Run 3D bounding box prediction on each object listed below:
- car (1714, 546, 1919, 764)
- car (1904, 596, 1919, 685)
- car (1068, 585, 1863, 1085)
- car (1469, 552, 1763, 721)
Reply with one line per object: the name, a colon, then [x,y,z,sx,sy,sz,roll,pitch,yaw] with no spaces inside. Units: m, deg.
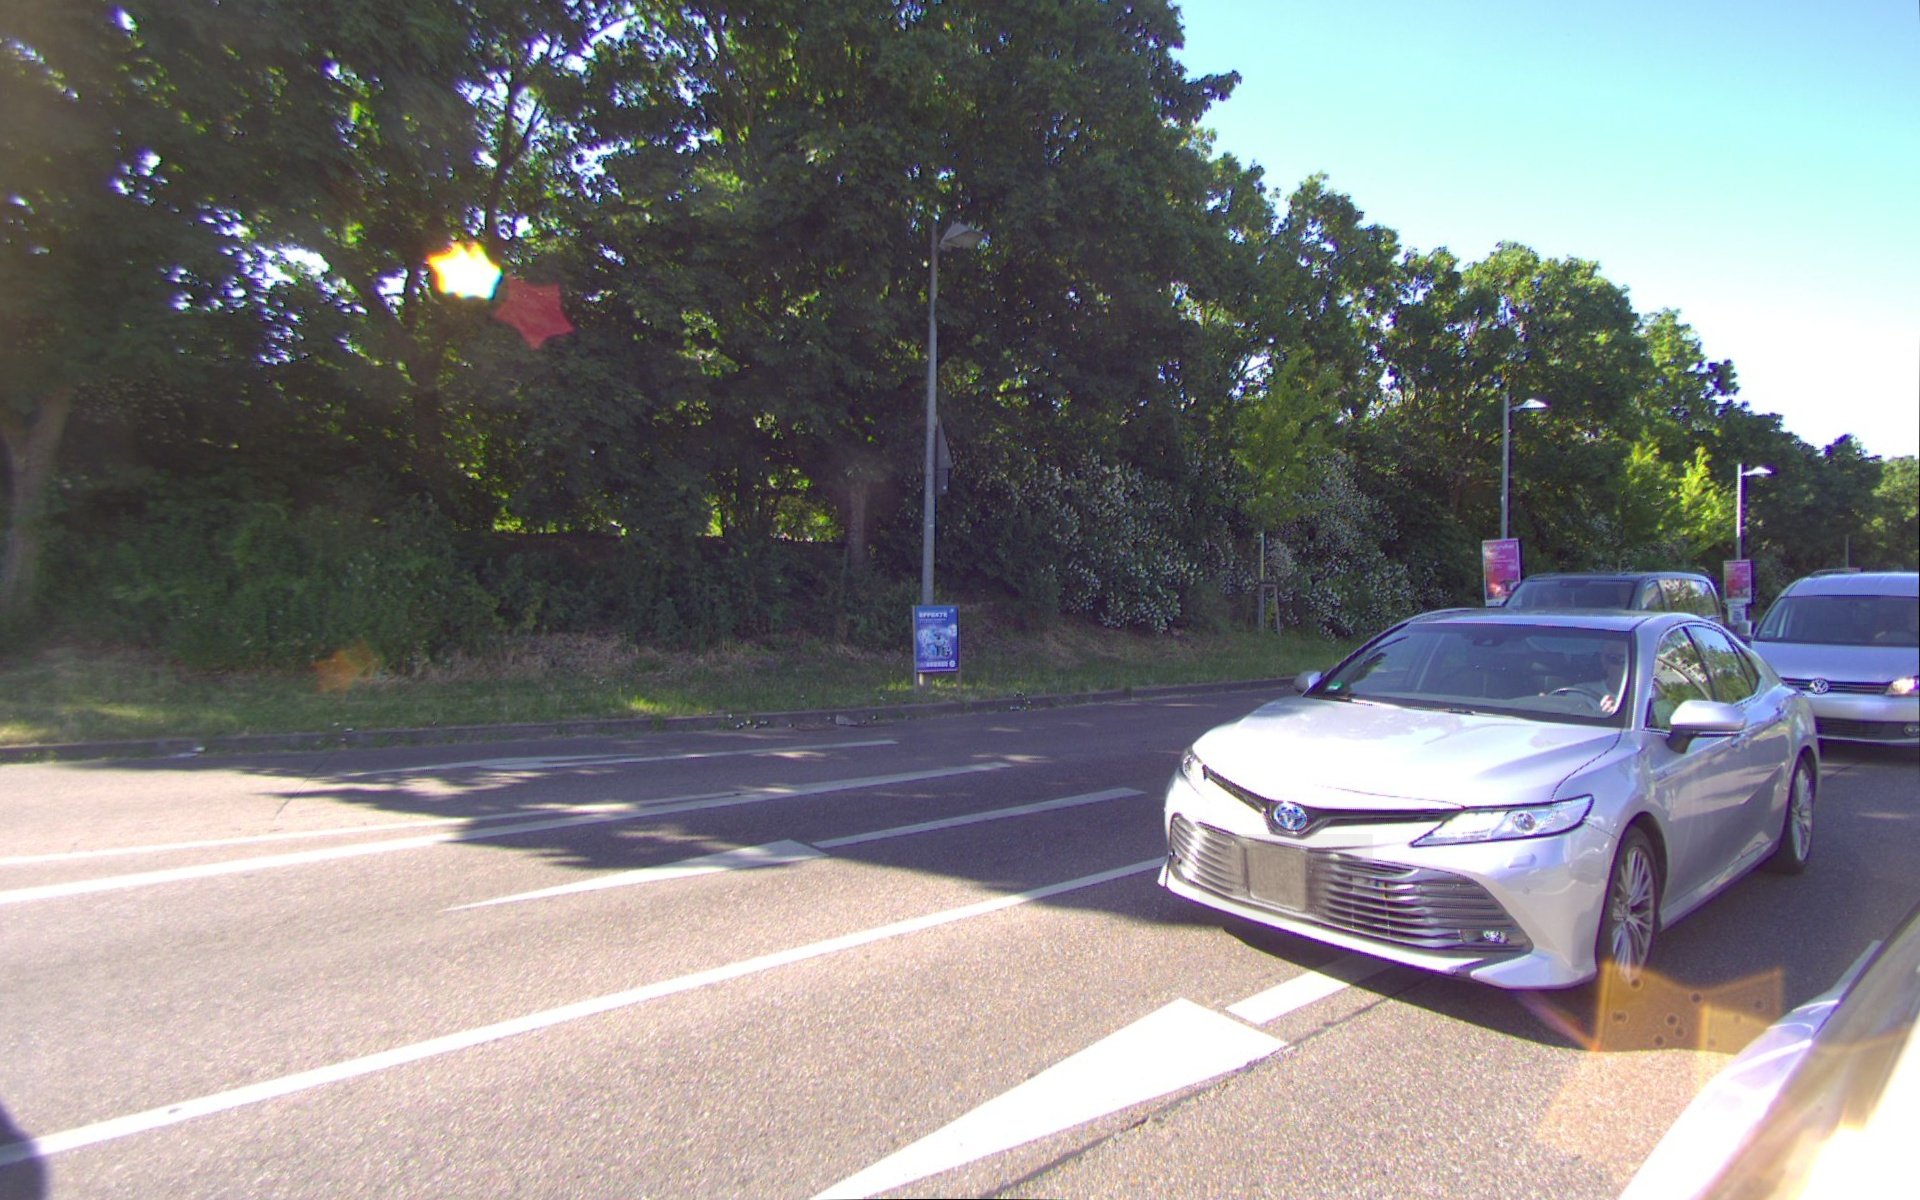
car: [9.873,0.467,10.864,4.540,1.928,1.822,0,1,-40]
car: [17.327,0.661,16.908,3.995,1.421,1.776,0,1,-40]
car: [2.947,0.693,5.359,4.664,1.477,2.069,0,2,-40]
car: [9.159,0.381,13.931,5.056,1.917,1.998,0,1,-40]
